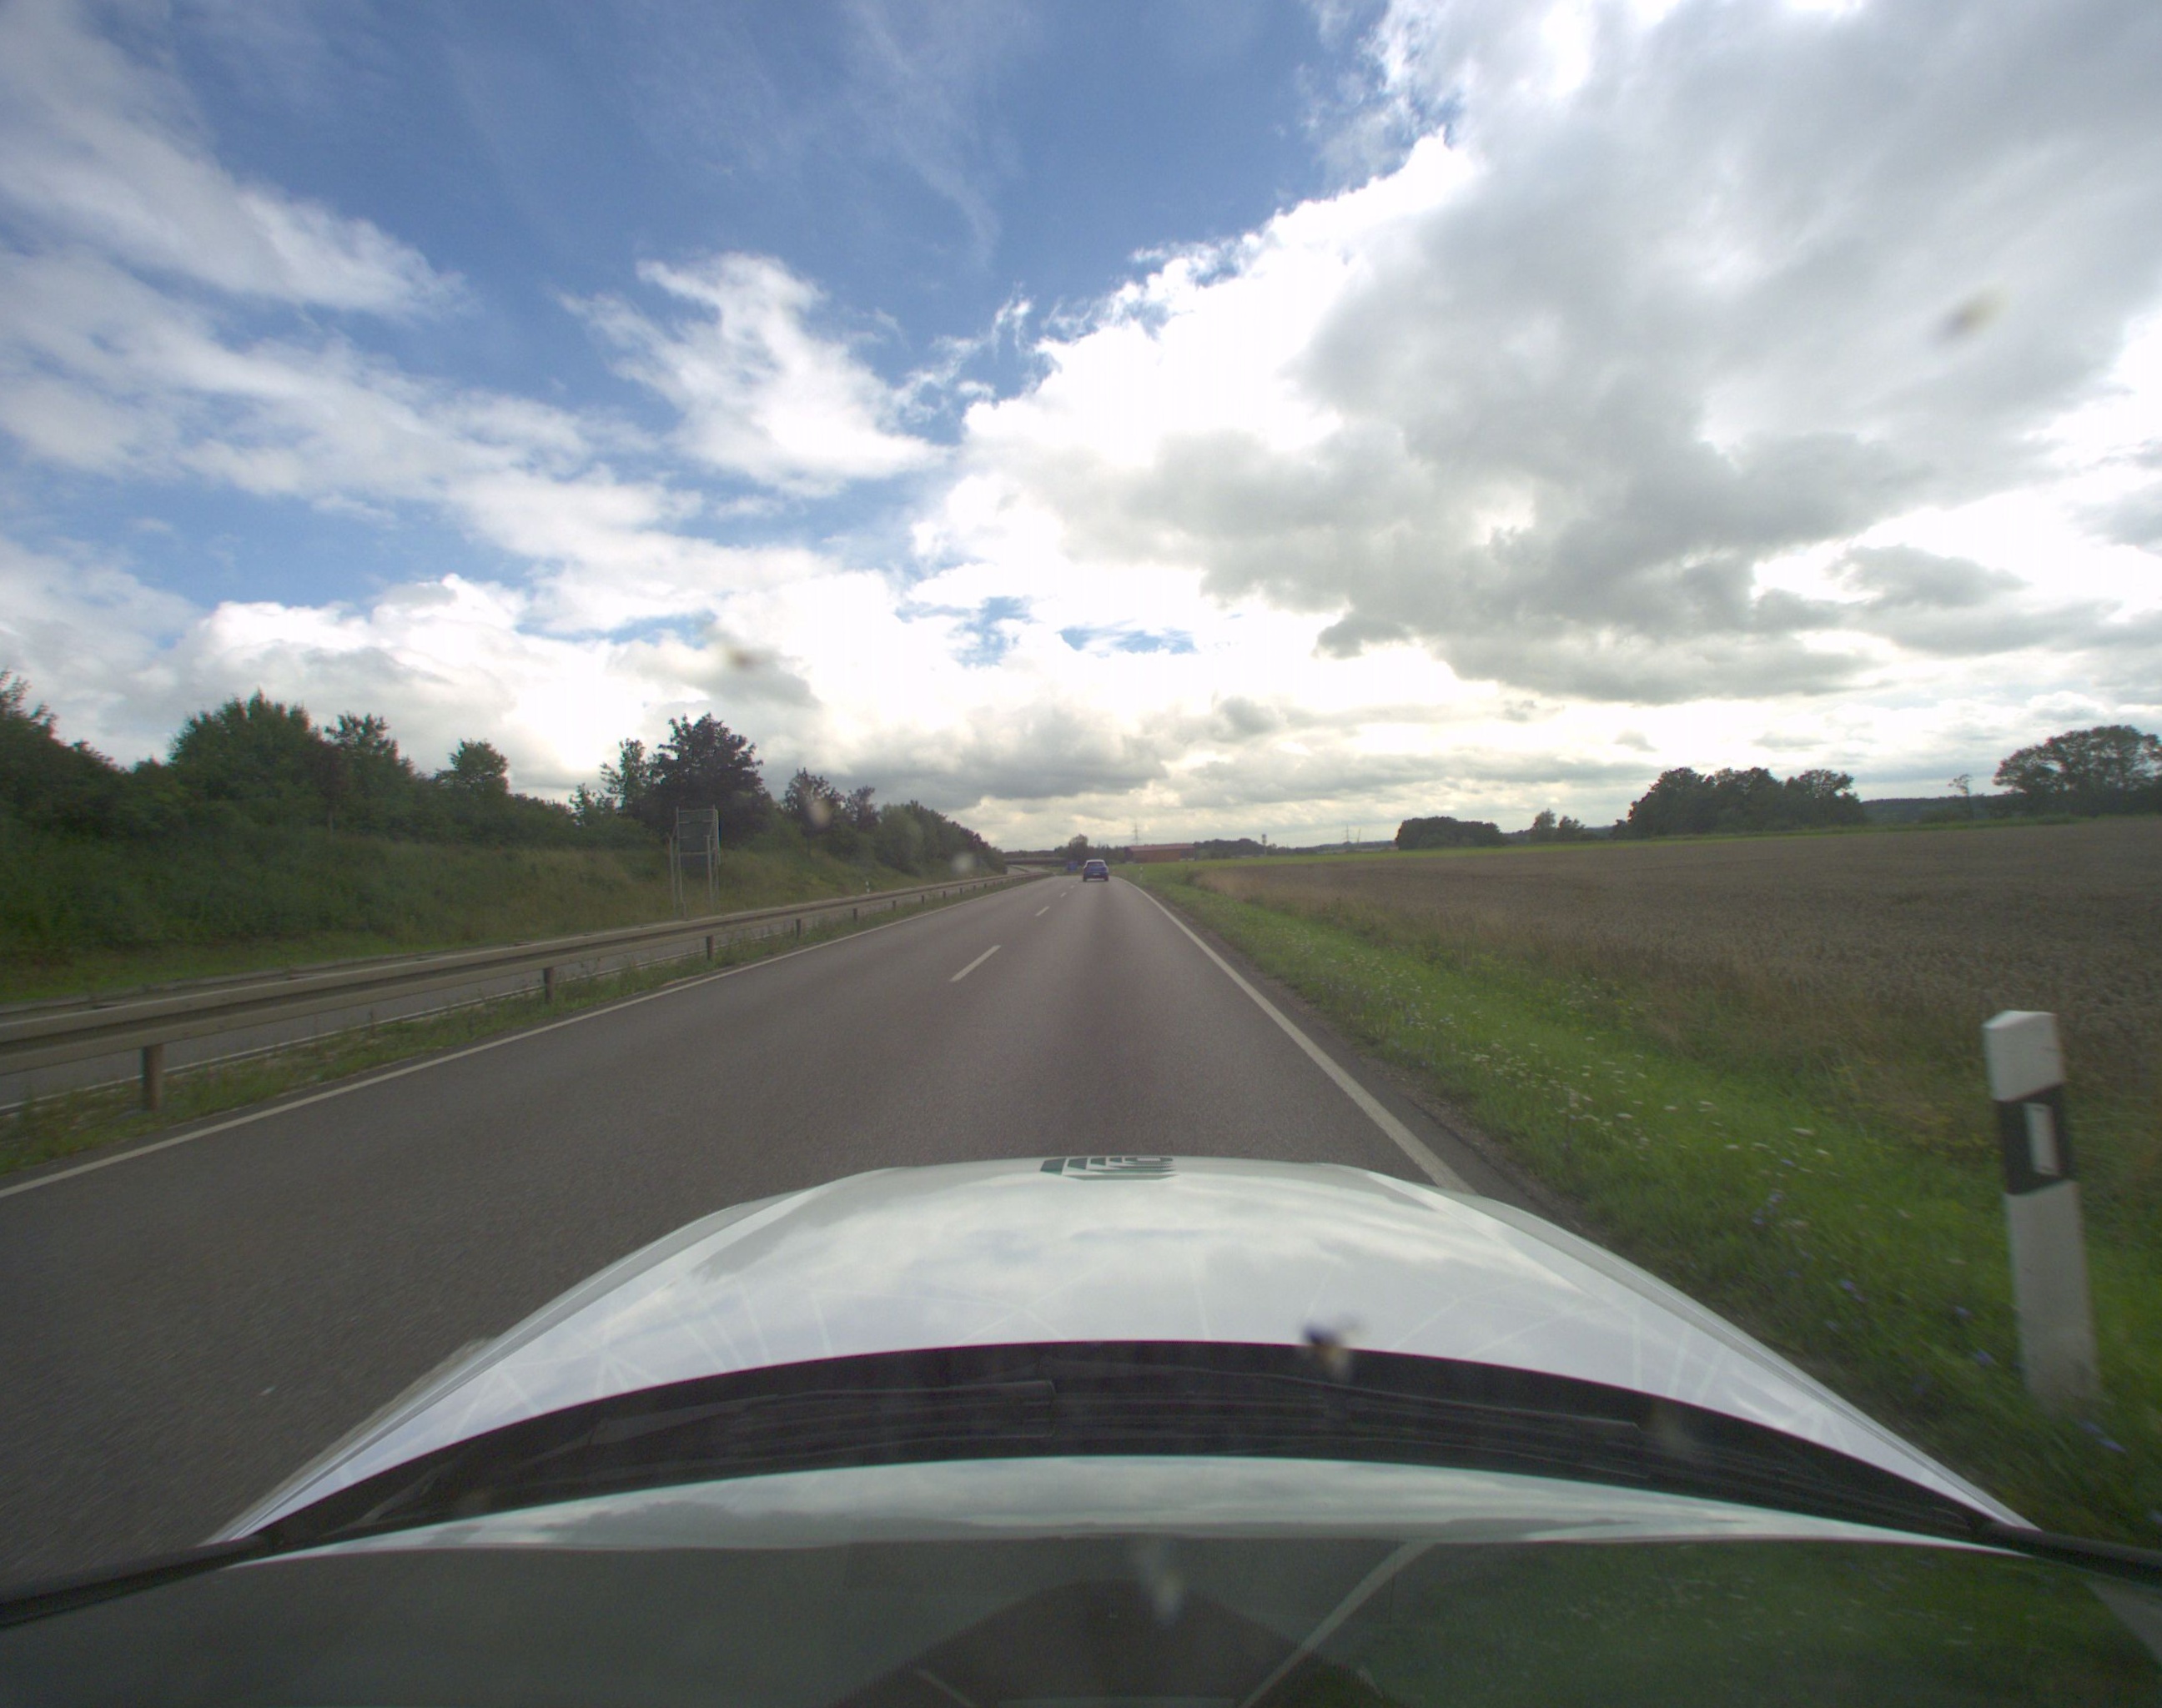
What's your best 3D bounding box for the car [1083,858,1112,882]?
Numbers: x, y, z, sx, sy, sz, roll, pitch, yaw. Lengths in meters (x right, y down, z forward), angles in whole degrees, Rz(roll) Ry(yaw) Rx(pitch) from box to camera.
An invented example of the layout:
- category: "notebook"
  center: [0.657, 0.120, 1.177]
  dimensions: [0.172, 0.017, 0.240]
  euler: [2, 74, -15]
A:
- category: "car"
  center: [1.310, 1.180, 62.142]
  dimensions: [2.025, 1.660, 4.546]
  euler: [-2, 0, 3]
